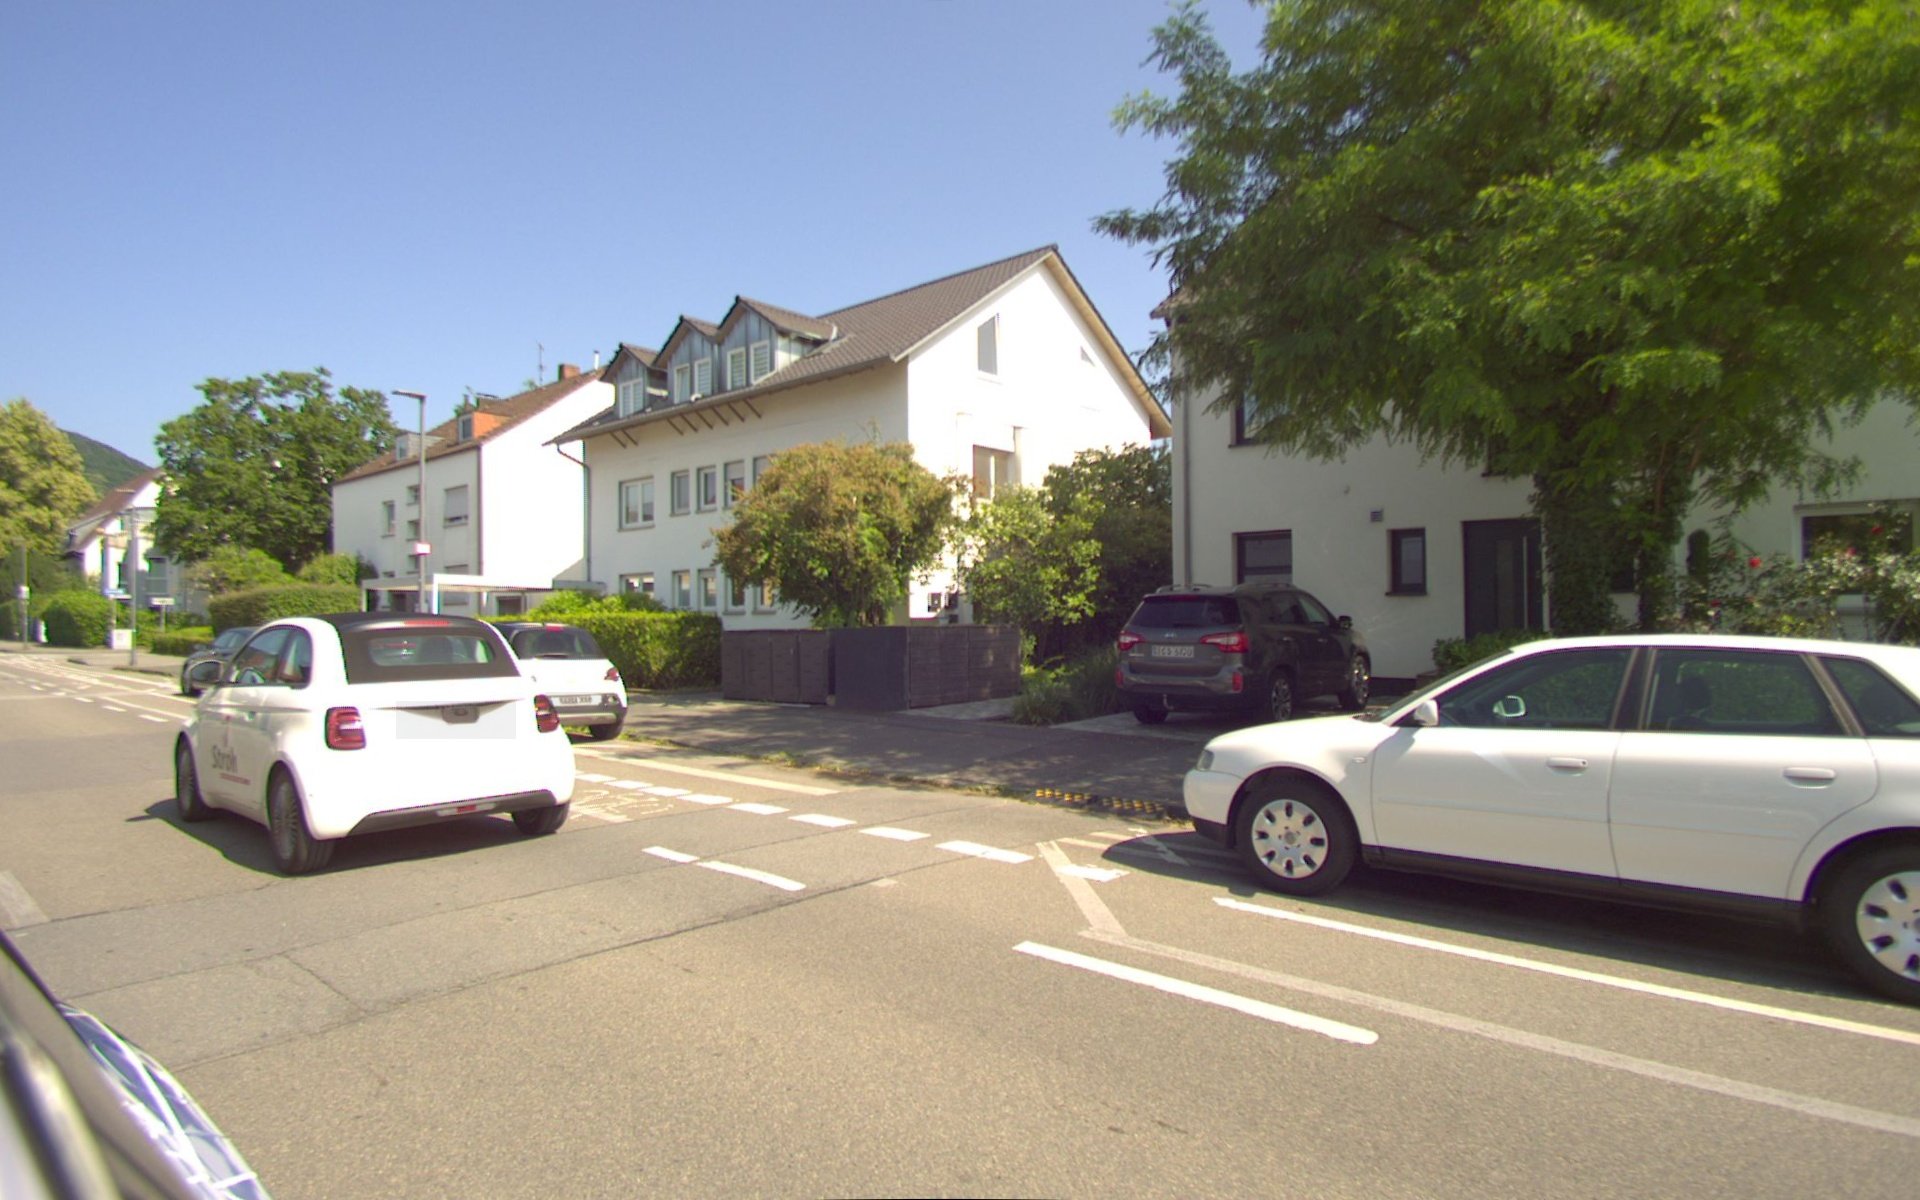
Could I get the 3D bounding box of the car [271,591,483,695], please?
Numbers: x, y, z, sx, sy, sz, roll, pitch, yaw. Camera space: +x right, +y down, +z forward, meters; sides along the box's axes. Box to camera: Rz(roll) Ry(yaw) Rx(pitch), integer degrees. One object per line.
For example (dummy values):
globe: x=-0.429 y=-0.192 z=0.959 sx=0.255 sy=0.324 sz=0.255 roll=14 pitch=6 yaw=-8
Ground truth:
car: x=-9.456 y=0.646 z=16.284 sx=4.109 sy=1.451 sz=1.766 roll=-1 pitch=-2 yaw=42

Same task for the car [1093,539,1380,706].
car: x=3.634 y=0.249 z=12.880 sx=1.999 sy=1.773 sz=3.945 roll=-1 pitch=-1 yaw=41

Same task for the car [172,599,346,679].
car: x=-14.215 y=0.757 z=20.452 sx=4.150 sy=1.451 sz=1.768 roll=-1 pitch=-2 yaw=39

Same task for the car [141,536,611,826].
car: x=-4.403 y=0.460 z=7.382 sx=3.997 sy=1.552 sz=1.714 roll=0 pitch=-2 yaw=40

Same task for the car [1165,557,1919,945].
car: x=3.285 y=0.605 z=5.229 sx=3.997 sy=1.451 sz=1.767 roll=0 pitch=-3 yaw=40

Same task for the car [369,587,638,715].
car: x=-6.163 y=0.631 z=13.476 sx=3.998 sy=1.451 sz=1.766 roll=-1 pitch=-3 yaw=41
